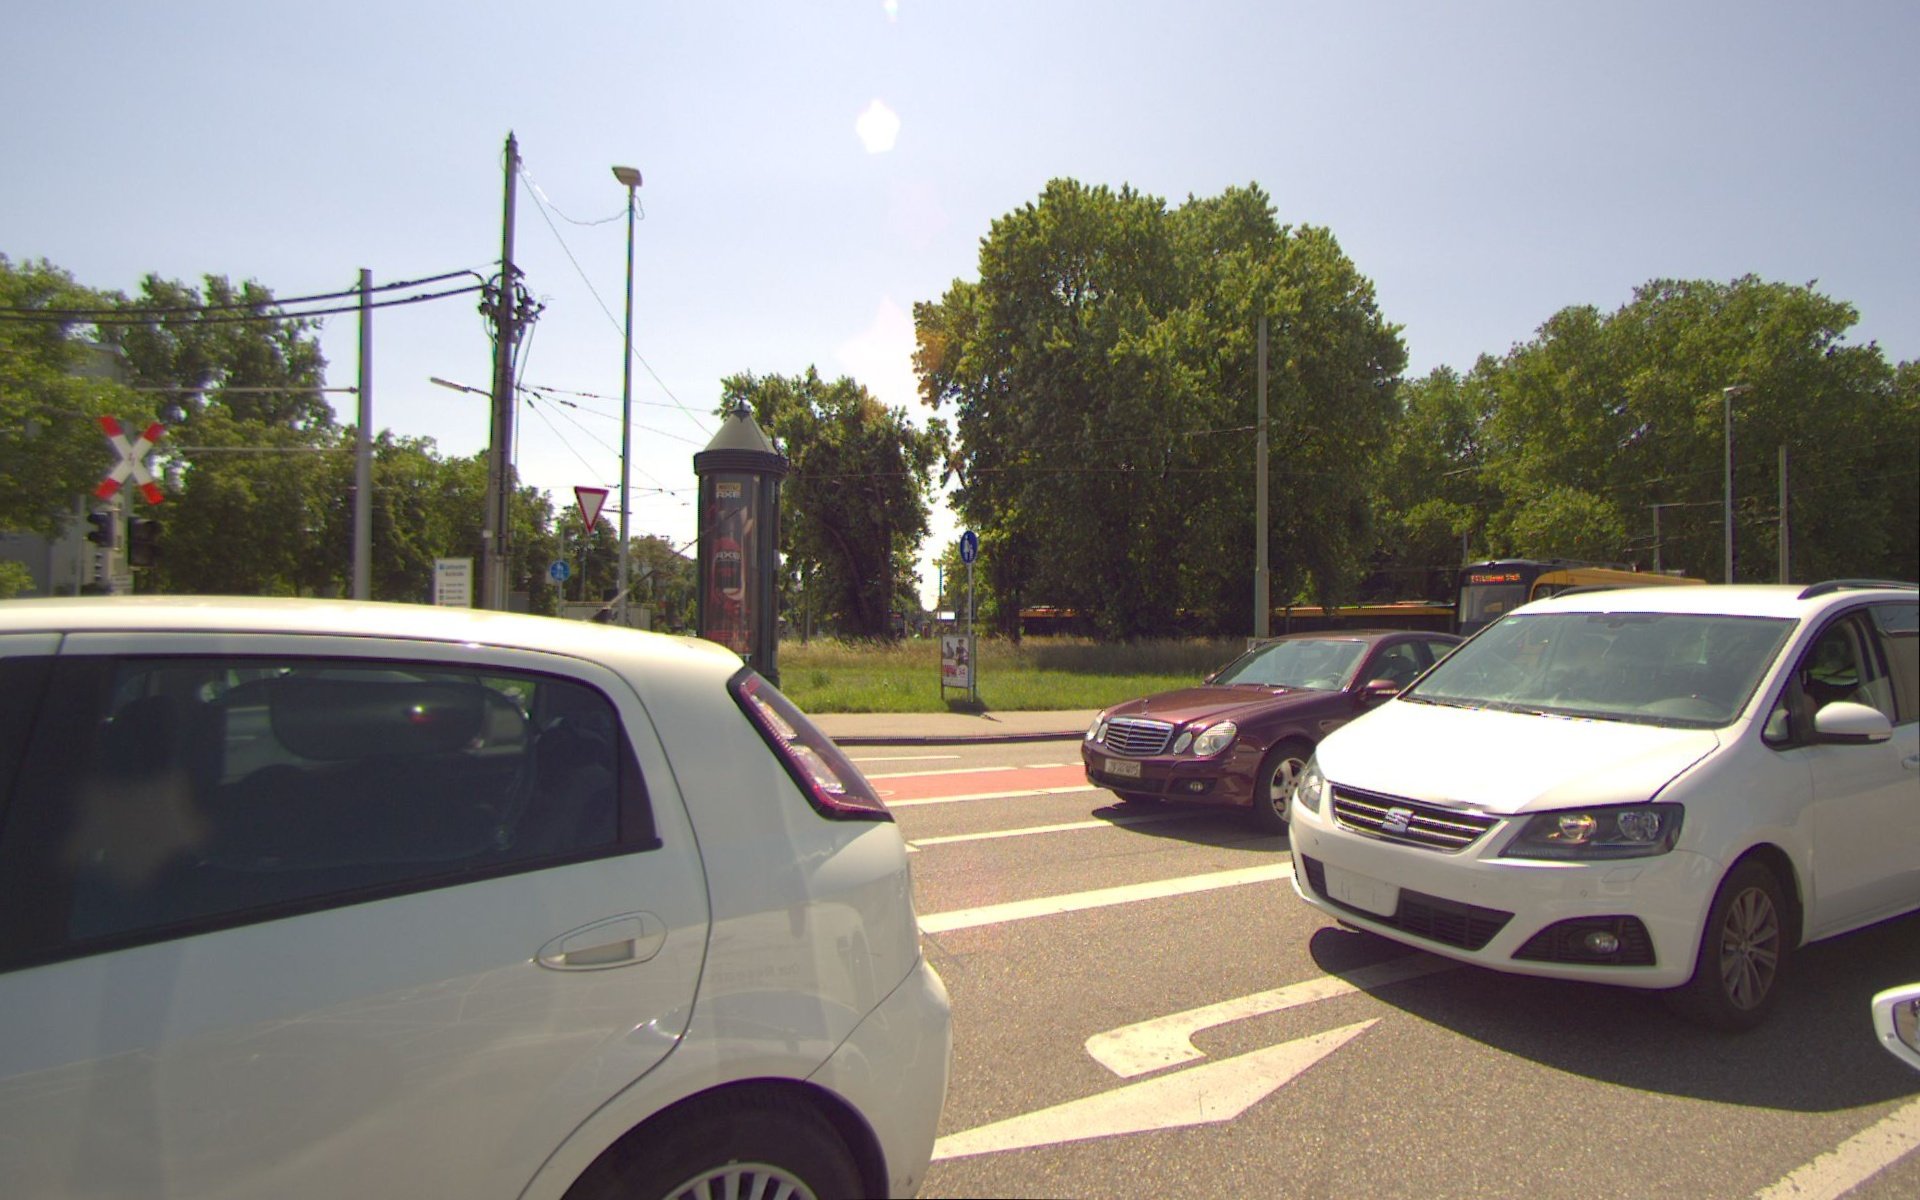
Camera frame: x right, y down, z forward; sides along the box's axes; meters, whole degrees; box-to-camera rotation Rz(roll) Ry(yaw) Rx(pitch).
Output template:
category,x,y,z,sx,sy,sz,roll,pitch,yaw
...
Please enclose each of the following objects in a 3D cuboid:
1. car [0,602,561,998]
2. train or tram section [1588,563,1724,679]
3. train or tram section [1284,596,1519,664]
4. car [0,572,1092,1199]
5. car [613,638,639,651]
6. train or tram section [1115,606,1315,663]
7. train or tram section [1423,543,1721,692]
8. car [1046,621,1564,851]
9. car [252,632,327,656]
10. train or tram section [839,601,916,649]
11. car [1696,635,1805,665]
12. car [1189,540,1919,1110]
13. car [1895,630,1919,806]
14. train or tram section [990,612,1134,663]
category,x,y,z,sx,sy,sz,roll,pitch,yaw
car,-4.214,0.768,4.421,4.361,1.475,1.783,1,-2,-30
train or tram section,26.644,0.951,39.046,2.971,3.808,11.601,-2,-3,28
train or tram section,27.037,2.037,62.880,2.994,3.808,14.068,1,-3,-33
car,-1.861,0.688,1.852,3.913,1.457,1.760,1,-1,-30
car,-36.176,4.773,108.968,1.573,1.303,3.646,-2,-2,0
train or tram section,18.155,2.619,72.744,13.975,3.808,3.014,-3,-3,38
train or tram section,19.060,0.643,30.672,12.867,3.808,2.996,1,-3,-36
car,2.943,0.941,8.321,4.236,1.476,1.751,1,-2,-31
car,-40.062,2.626,60.131,1.850,1.303,4.001,-2,-2,0
train or tram section,-8.284,2.605,98.455,2.987,4.310,12.667,1,-3,-26
car,41.347,2.594,52.684,1.642,1.435,4.294,2,-3,-20
car,3.569,0.739,5.062,4.773,1.746,1.803,1,-1,-30
car,10.154,1.023,8.849,3.942,1.482,1.715,1,-1,-29
train or tram section,8.014,3.039,79.911,11.245,3.808,3.019,-2,-3,32
